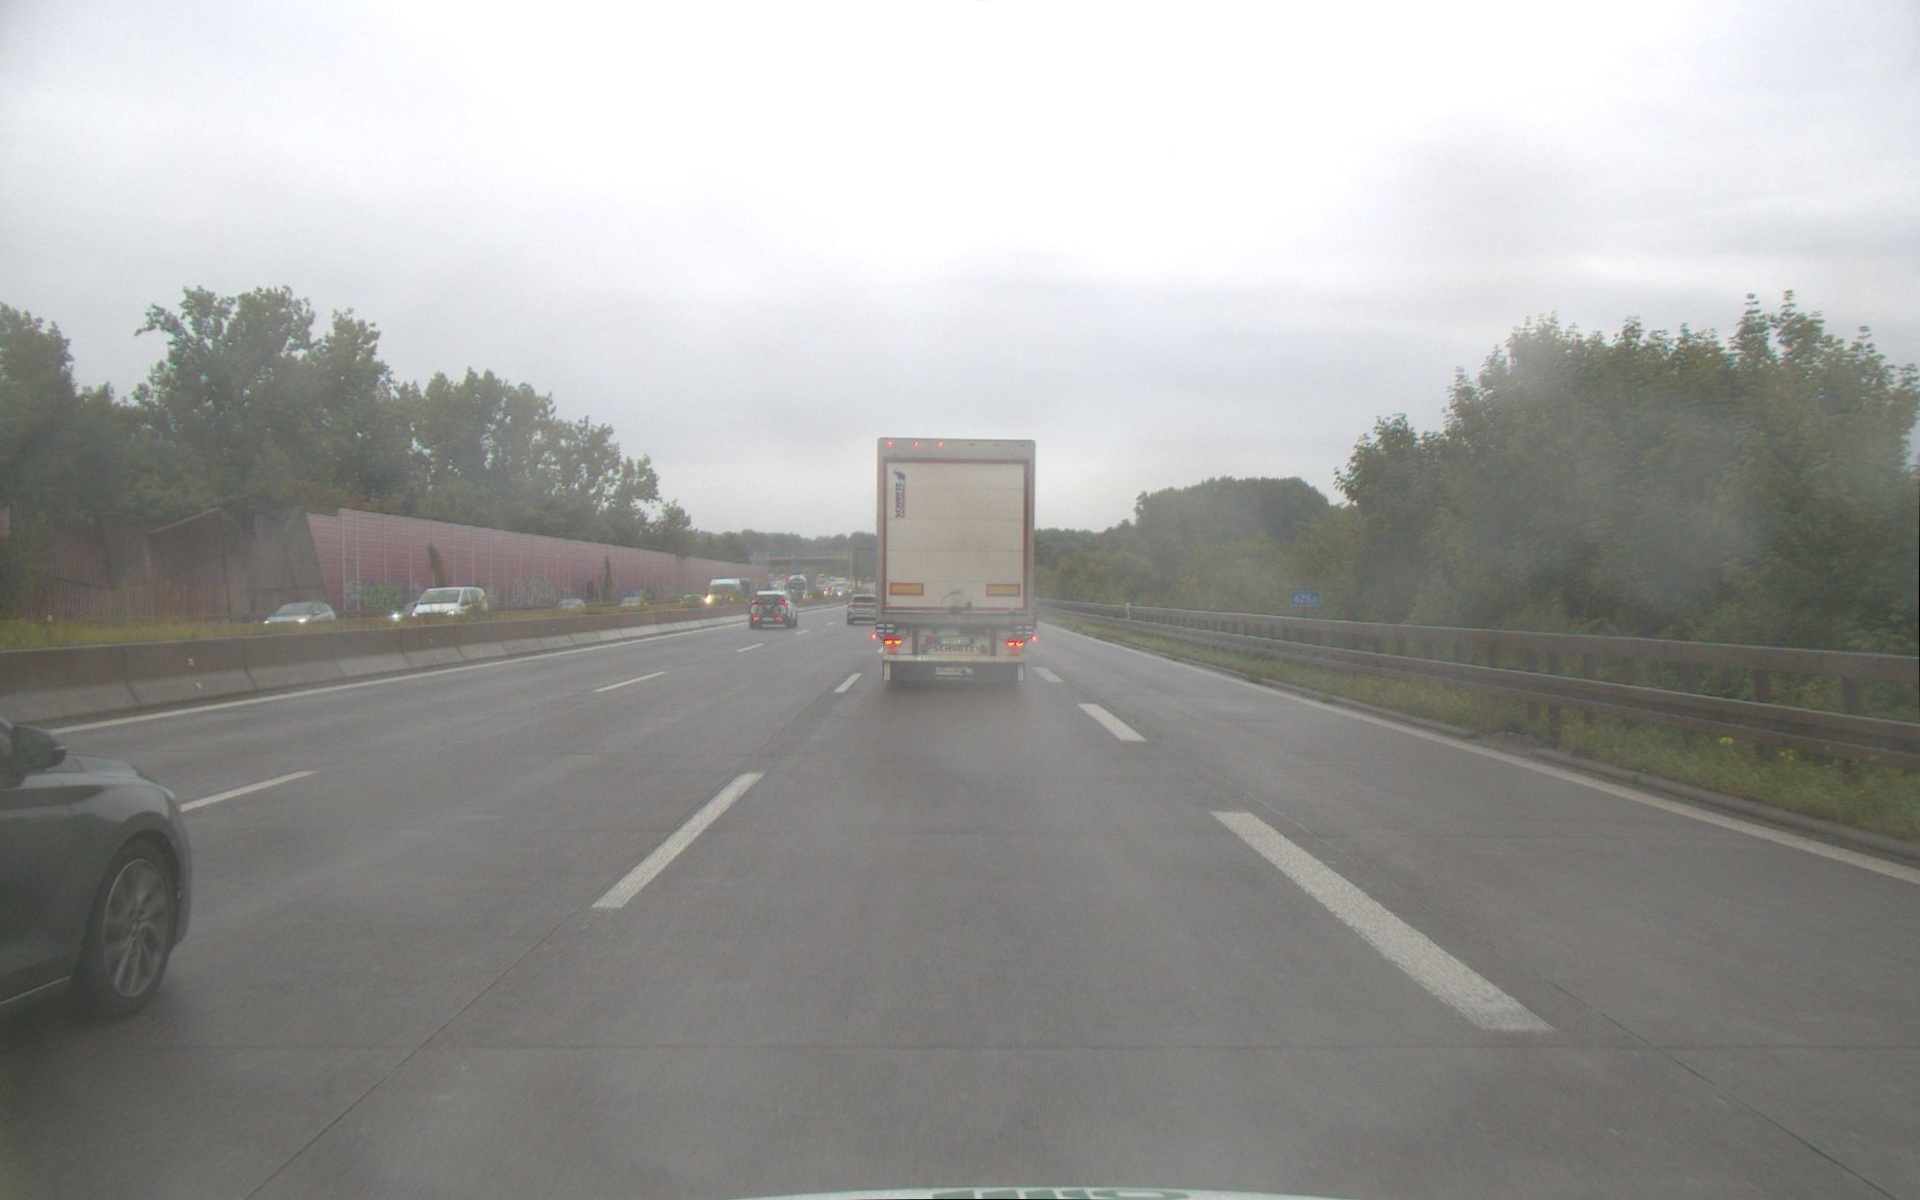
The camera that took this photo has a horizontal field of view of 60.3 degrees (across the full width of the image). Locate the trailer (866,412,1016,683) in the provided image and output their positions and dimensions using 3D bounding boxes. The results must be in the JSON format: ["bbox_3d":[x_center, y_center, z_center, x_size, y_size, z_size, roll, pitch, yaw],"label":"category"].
[{"bbox_3d":[-0.388,-0.788,33.494,2.295,4.230,14.823,1,0,-1],"label":"trailer"}]

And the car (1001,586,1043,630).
[{"bbox_3d":[2.890,0.354,78.115,1.858,1.983,4.000,1,0,0],"label":"car"}]

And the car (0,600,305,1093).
[{"bbox_3d":[-3.659,0.728,4.765,1.690,1.427,4.827,1,0,-1],"label":"car"}]

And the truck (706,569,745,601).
[{"bbox_3d":[-16.905,-1.052,119.444,2.101,2.244,5.419,0,0,0],"label":"truck"}]

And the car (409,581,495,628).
[{"bbox_3d":[-20.213,0.156,66.009,1.953,1.816,5.208,0,0,-2],"label":"car"}]

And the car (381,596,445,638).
[{"bbox_3d":[-27.916,0.836,84.583,1.953,2.049,4.000,0,0,0],"label":"car"}]

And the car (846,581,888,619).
[{"bbox_3d":[-4.566,-0.020,81.268,1.855,1.753,3.999,1,0,-1],"label":"car"}]

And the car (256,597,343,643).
[{"bbox_3d":[-27.215,0.806,68.303,1.953,1.816,4.289,0,0,-2],"label":"car"}]

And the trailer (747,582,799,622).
[{"bbox_3d":[-8.044,0.043,71.515,1.778,1.653,4.567,0,1,-1],"label":"trailer"}]
